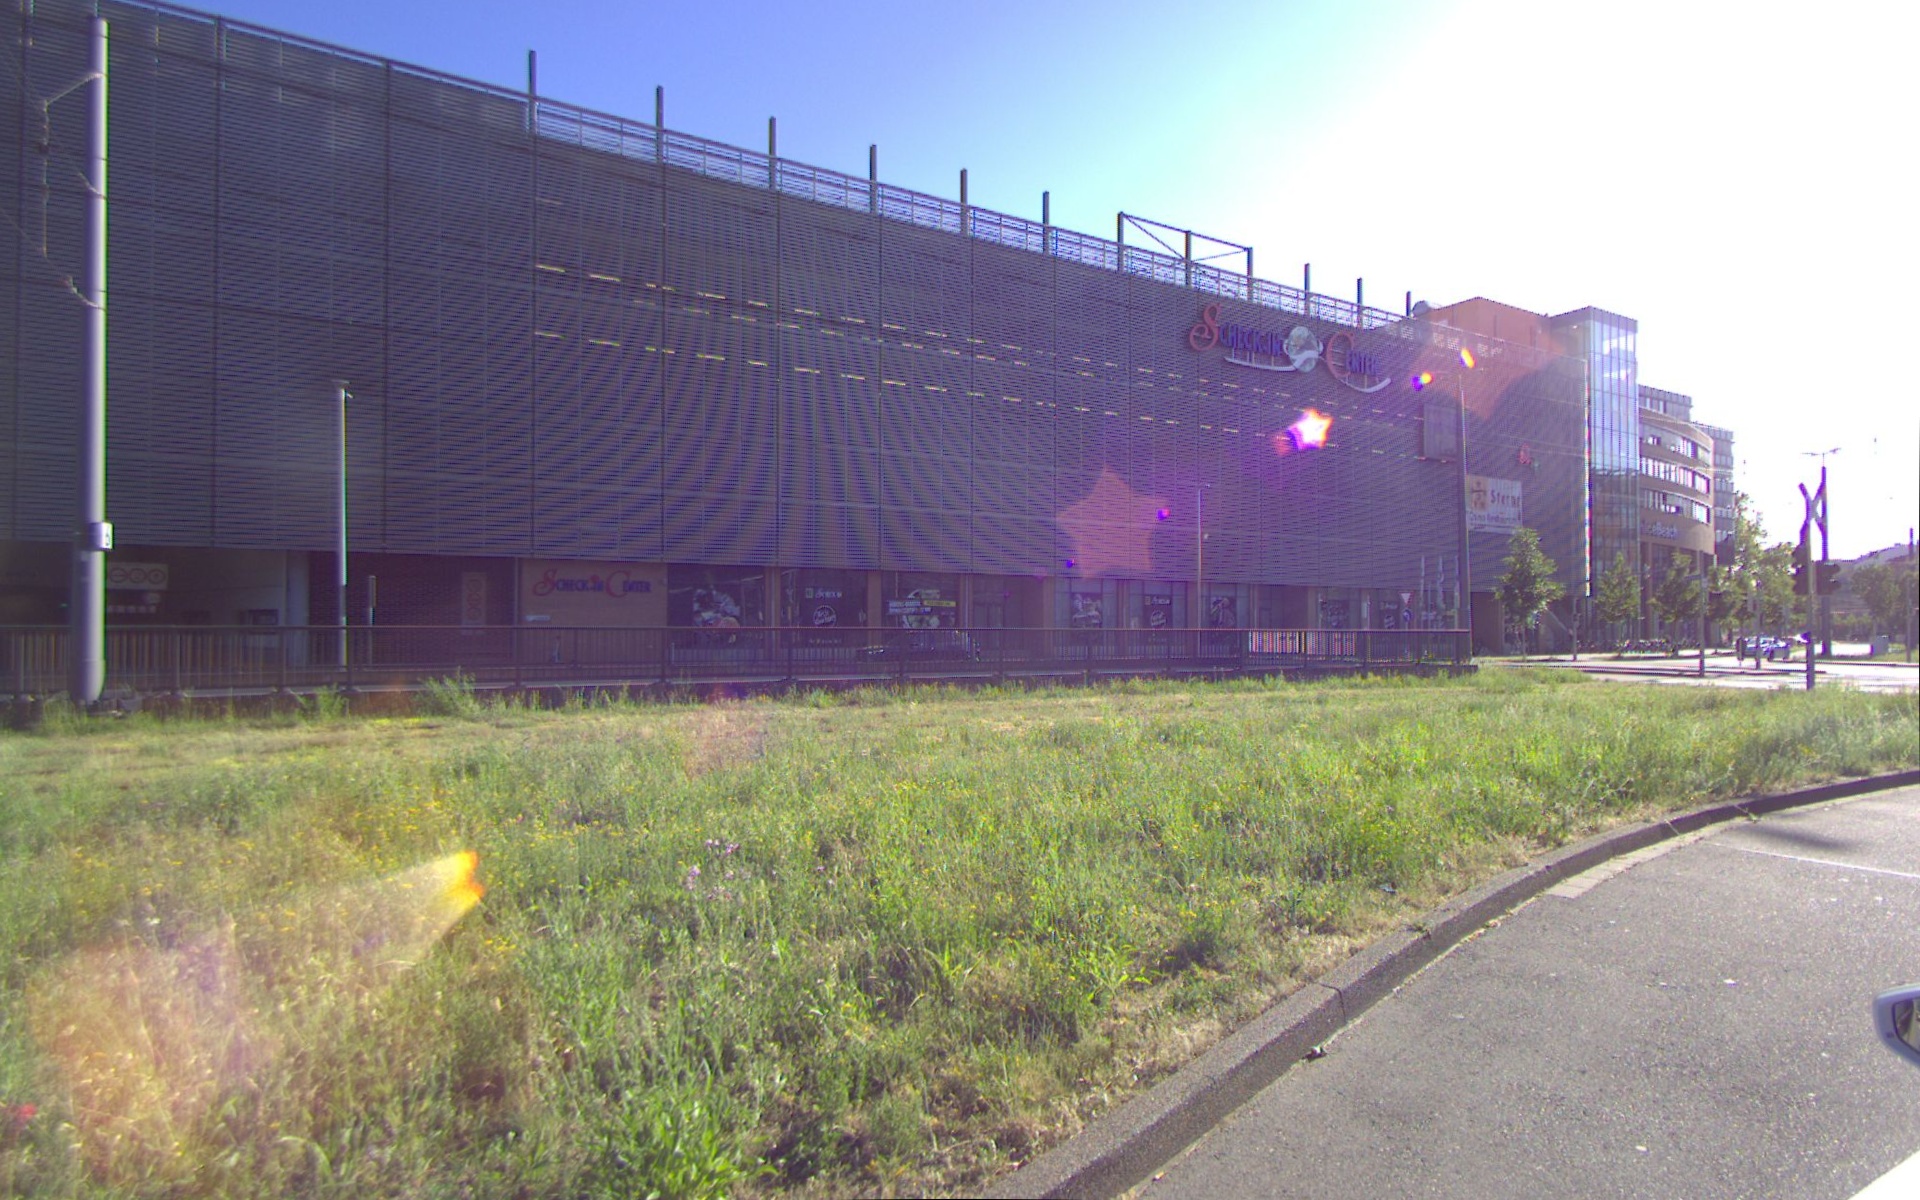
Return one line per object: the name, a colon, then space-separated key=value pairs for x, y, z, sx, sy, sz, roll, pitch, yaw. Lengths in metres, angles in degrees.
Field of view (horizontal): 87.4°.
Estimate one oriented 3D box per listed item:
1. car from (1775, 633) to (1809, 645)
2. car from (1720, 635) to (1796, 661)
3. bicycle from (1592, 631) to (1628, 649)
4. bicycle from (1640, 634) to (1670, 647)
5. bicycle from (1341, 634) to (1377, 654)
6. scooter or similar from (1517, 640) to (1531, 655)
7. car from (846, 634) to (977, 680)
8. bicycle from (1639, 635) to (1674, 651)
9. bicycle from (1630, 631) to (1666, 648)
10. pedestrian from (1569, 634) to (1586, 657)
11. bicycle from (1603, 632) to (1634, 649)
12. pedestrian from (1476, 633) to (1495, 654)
car: x=111.366 y=5.216 z=134.442 sx=1.623 sy=1.609 sz=3.357 roll=1 pitch=-1 yaw=-5
car: x=50.318 y=3.020 z=63.362 sx=4.468 sy=1.566 sz=1.988 roll=1 pitch=-1 yaw=-25
bicycle: x=55.268 y=3.397 z=85.454 sx=1.060 sy=1.452 sz=2.367 roll=1 pitch=-3 yaw=-21
bicycle: x=67.086 y=3.910 z=96.930 sx=0.733 sy=1.252 sz=2.411 roll=1 pitch=-3 yaw=-21
bicycle: x=25.540 y=2.831 z=64.314 sx=2.384 sy=1.237 sz=0.797 roll=1 pitch=-2 yaw=-27
scooter or similar: x=43.018 y=3.654 z=76.646 sx=1.138 sy=1.124 sz=0.419 roll=2 pitch=-3 yaw=-30
car: x=-1.687 y=1.973 z=35.436 sx=4.192 sy=1.520 sz=1.985 roll=1 pitch=-1 yaw=-30
bicycle: x=62.178 y=3.829 z=89.718 sx=0.891 sy=1.452 sz=2.558 roll=1 pitch=-3 yaw=-21
bicycle: x=60.460 y=3.505 z=88.242 sx=0.891 sy=1.452 sz=2.558 roll=1 pitch=-3 yaw=-21
pedestrian: x=48.639 y=3.591 z=79.154 sx=0.894 sy=1.848 sz=0.823 roll=2 pitch=-3 yaw=-28
bicycle: x=56.261 y=3.472 z=85.846 sx=0.848 sy=1.452 sz=2.080 roll=1 pitch=-3 yaw=-21
pedestrian: x=39.836 y=3.317 z=76.187 sx=0.819 sy=1.586 sz=0.983 roll=2 pitch=-3 yaw=-30
